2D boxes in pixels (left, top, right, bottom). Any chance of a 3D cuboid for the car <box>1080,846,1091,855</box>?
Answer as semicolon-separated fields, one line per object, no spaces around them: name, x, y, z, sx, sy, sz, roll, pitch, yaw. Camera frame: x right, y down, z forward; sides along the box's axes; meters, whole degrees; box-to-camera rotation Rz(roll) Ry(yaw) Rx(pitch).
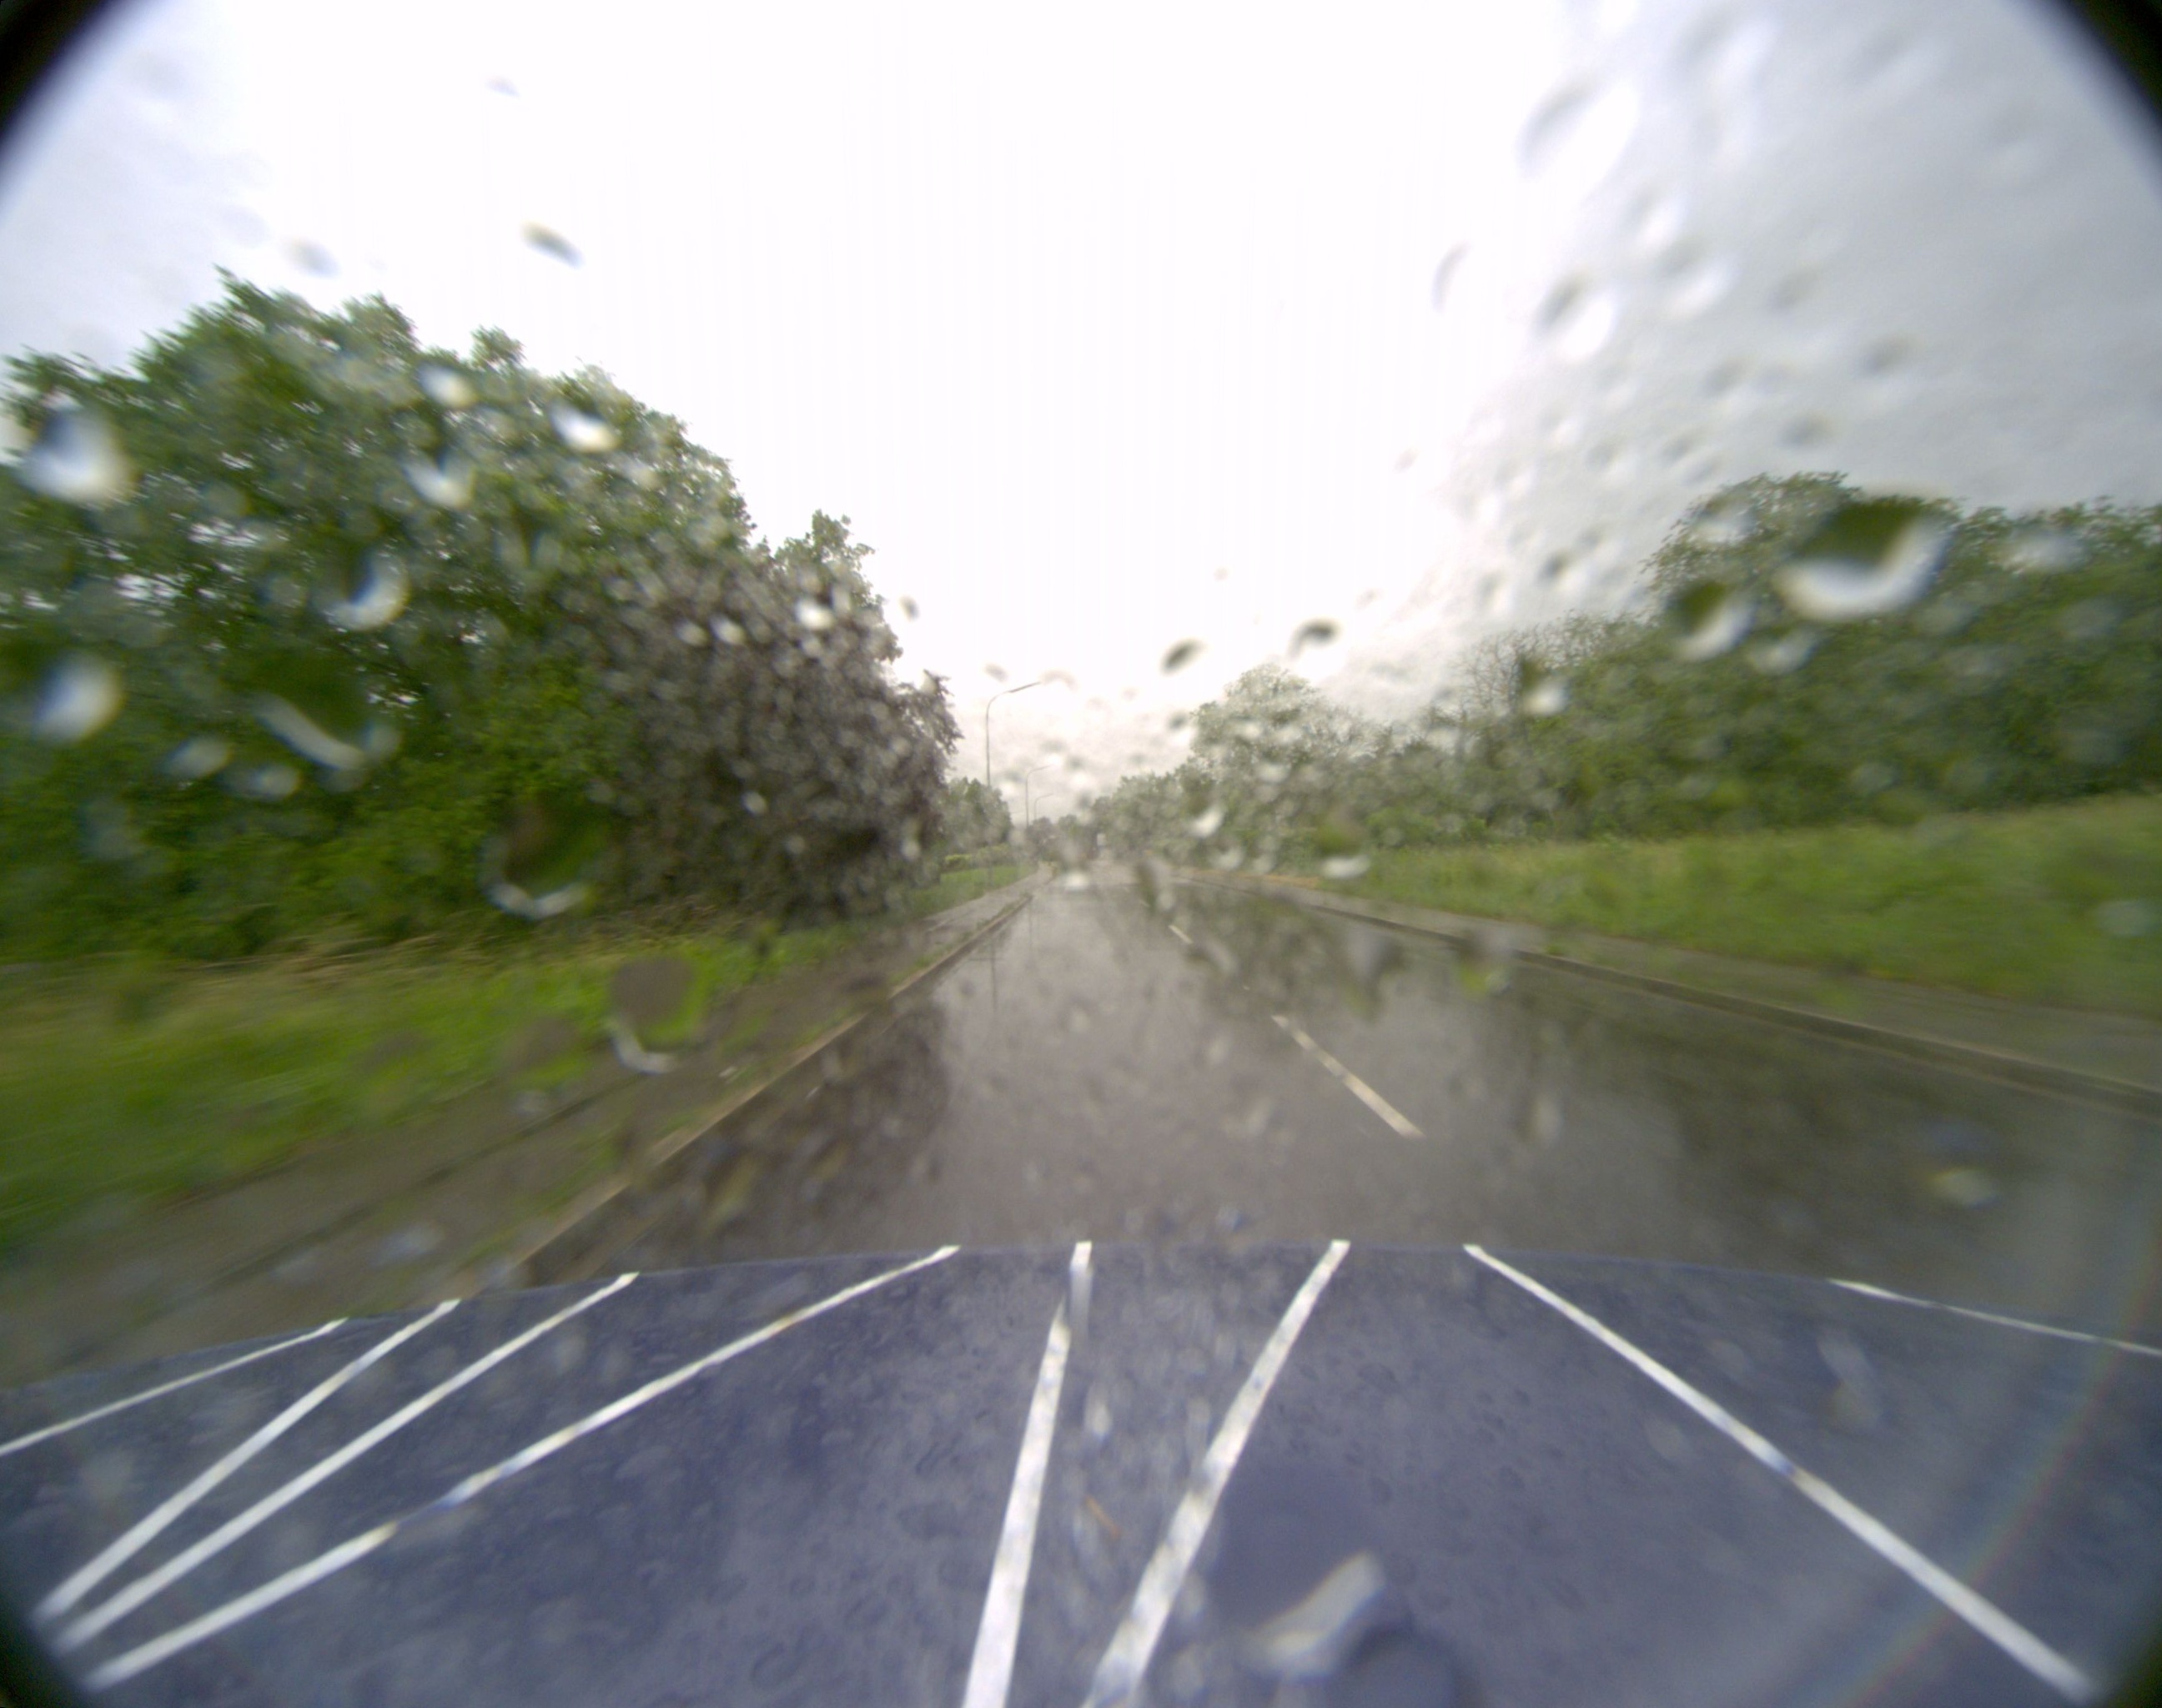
car;0.983;-0.747;173.400;1.999;1.865;4.468;-3;0;-4
